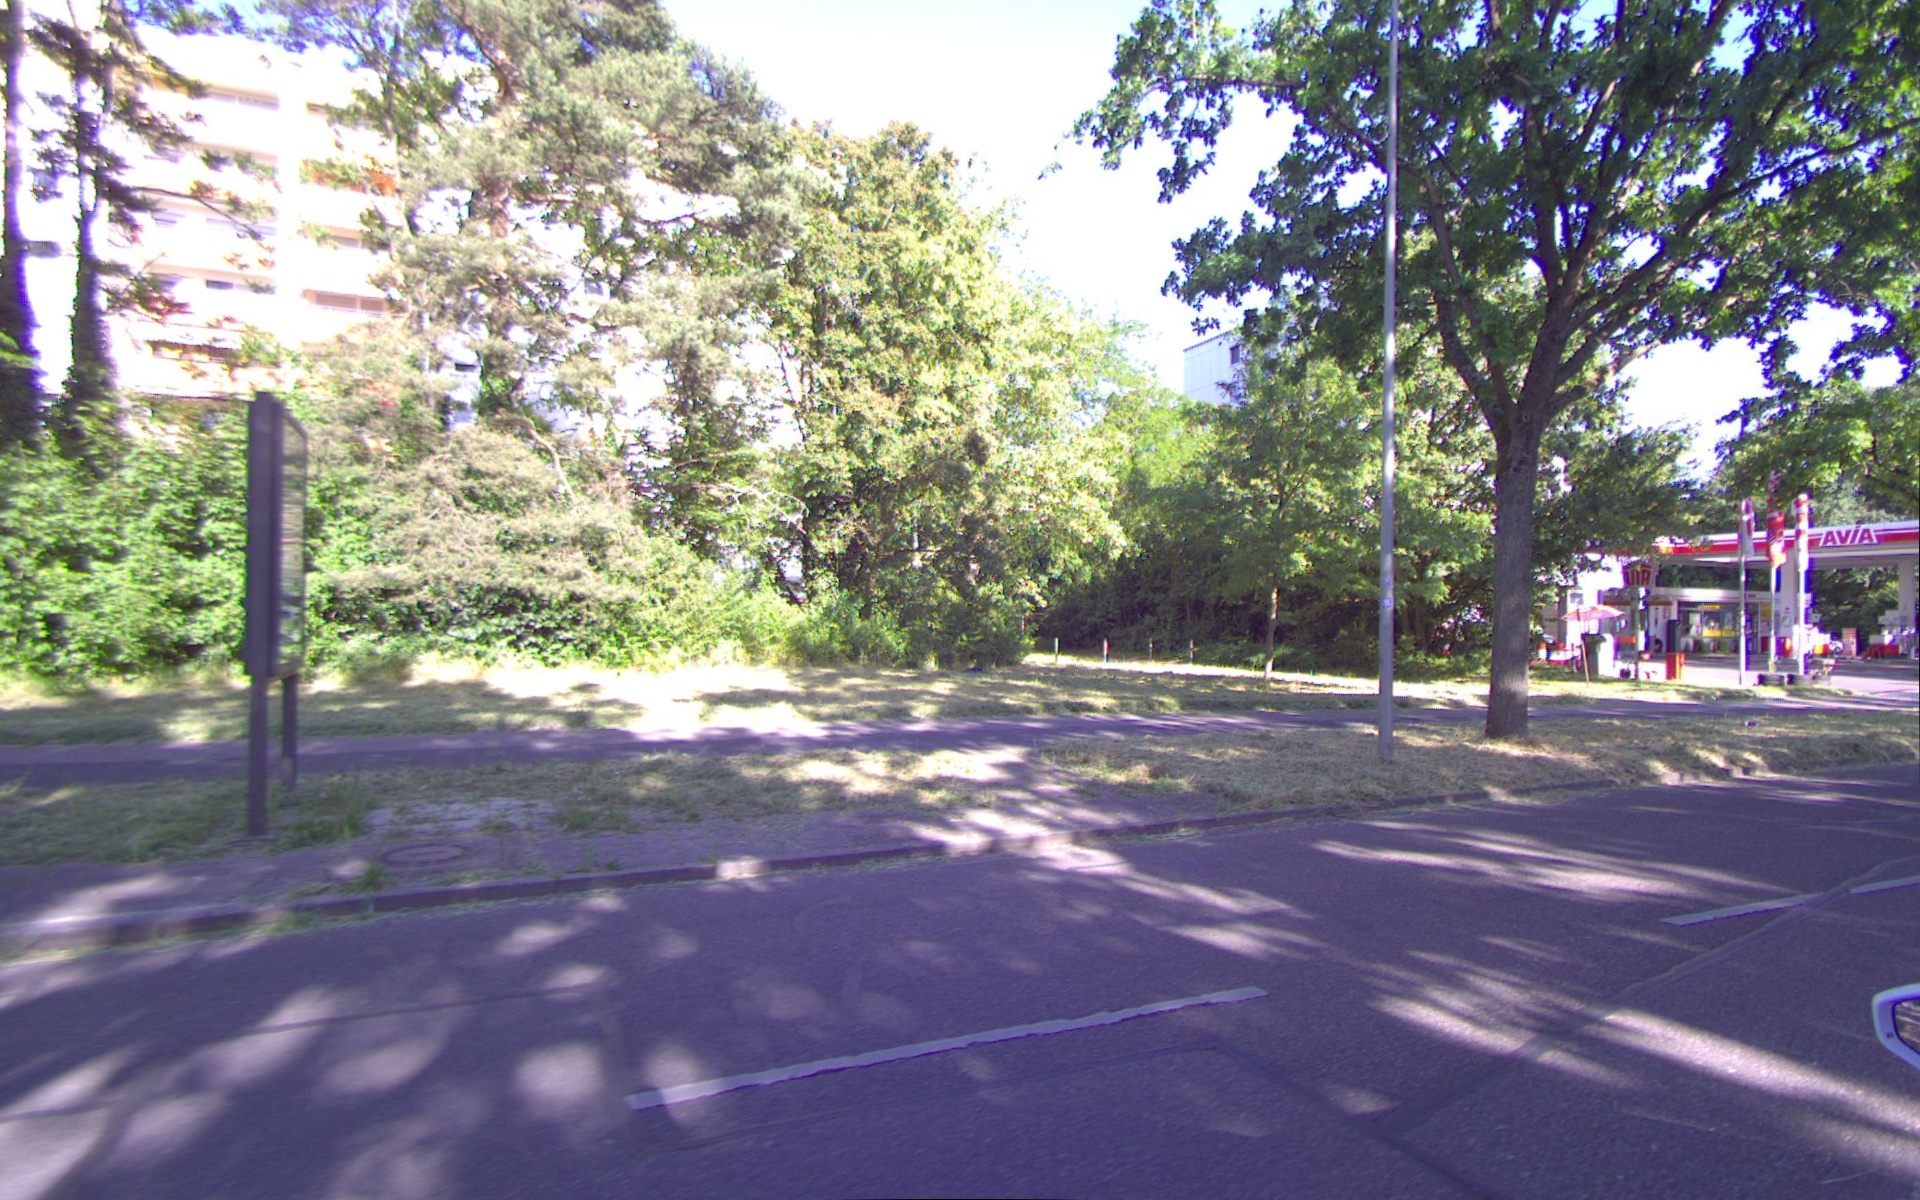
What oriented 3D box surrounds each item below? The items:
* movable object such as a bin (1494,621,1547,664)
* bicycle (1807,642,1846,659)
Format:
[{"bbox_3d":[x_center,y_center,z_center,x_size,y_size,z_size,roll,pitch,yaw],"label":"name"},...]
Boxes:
[{"bbox_3d":[21.167,1.597,37.937,1.251,1.562,1.299,1,-1,-27],"label":"movable object such as a bin"},{"bbox_3d":[45.539,2.657,52.789,1.749,0.818,0.618,1,-1,-13],"label":"bicycle"}]
